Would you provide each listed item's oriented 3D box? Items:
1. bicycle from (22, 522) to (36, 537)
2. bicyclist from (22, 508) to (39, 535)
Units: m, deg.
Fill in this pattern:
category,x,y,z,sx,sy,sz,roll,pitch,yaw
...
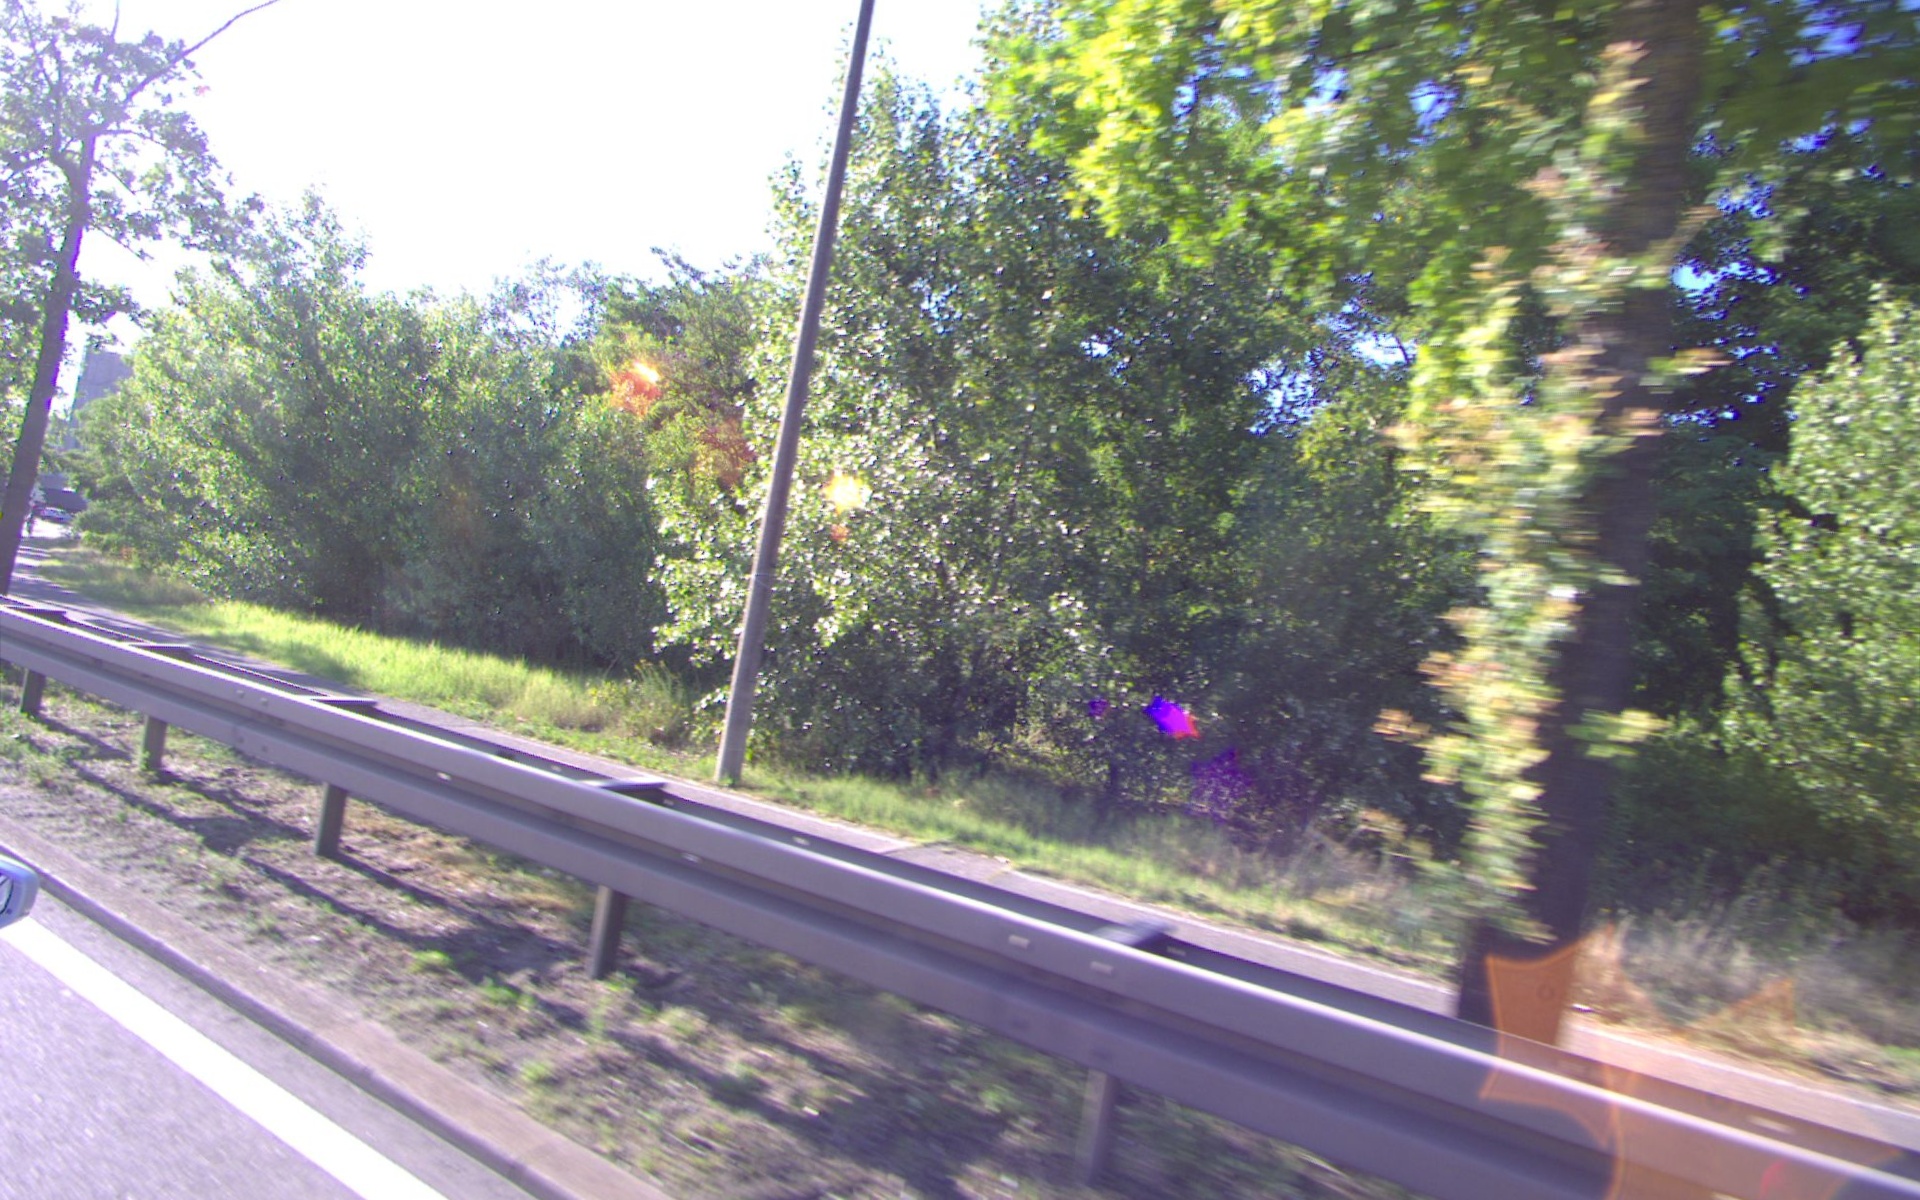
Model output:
category,x,y,z,sx,sy,sz,roll,pitch,yaw
bicycle,-71.725,-5.474,77.505,0.577,0.973,2.852,12,-3,-42
bicyclist,-71.720,-6.046,77.655,0.681,1.927,0.823,12,-2,-42
